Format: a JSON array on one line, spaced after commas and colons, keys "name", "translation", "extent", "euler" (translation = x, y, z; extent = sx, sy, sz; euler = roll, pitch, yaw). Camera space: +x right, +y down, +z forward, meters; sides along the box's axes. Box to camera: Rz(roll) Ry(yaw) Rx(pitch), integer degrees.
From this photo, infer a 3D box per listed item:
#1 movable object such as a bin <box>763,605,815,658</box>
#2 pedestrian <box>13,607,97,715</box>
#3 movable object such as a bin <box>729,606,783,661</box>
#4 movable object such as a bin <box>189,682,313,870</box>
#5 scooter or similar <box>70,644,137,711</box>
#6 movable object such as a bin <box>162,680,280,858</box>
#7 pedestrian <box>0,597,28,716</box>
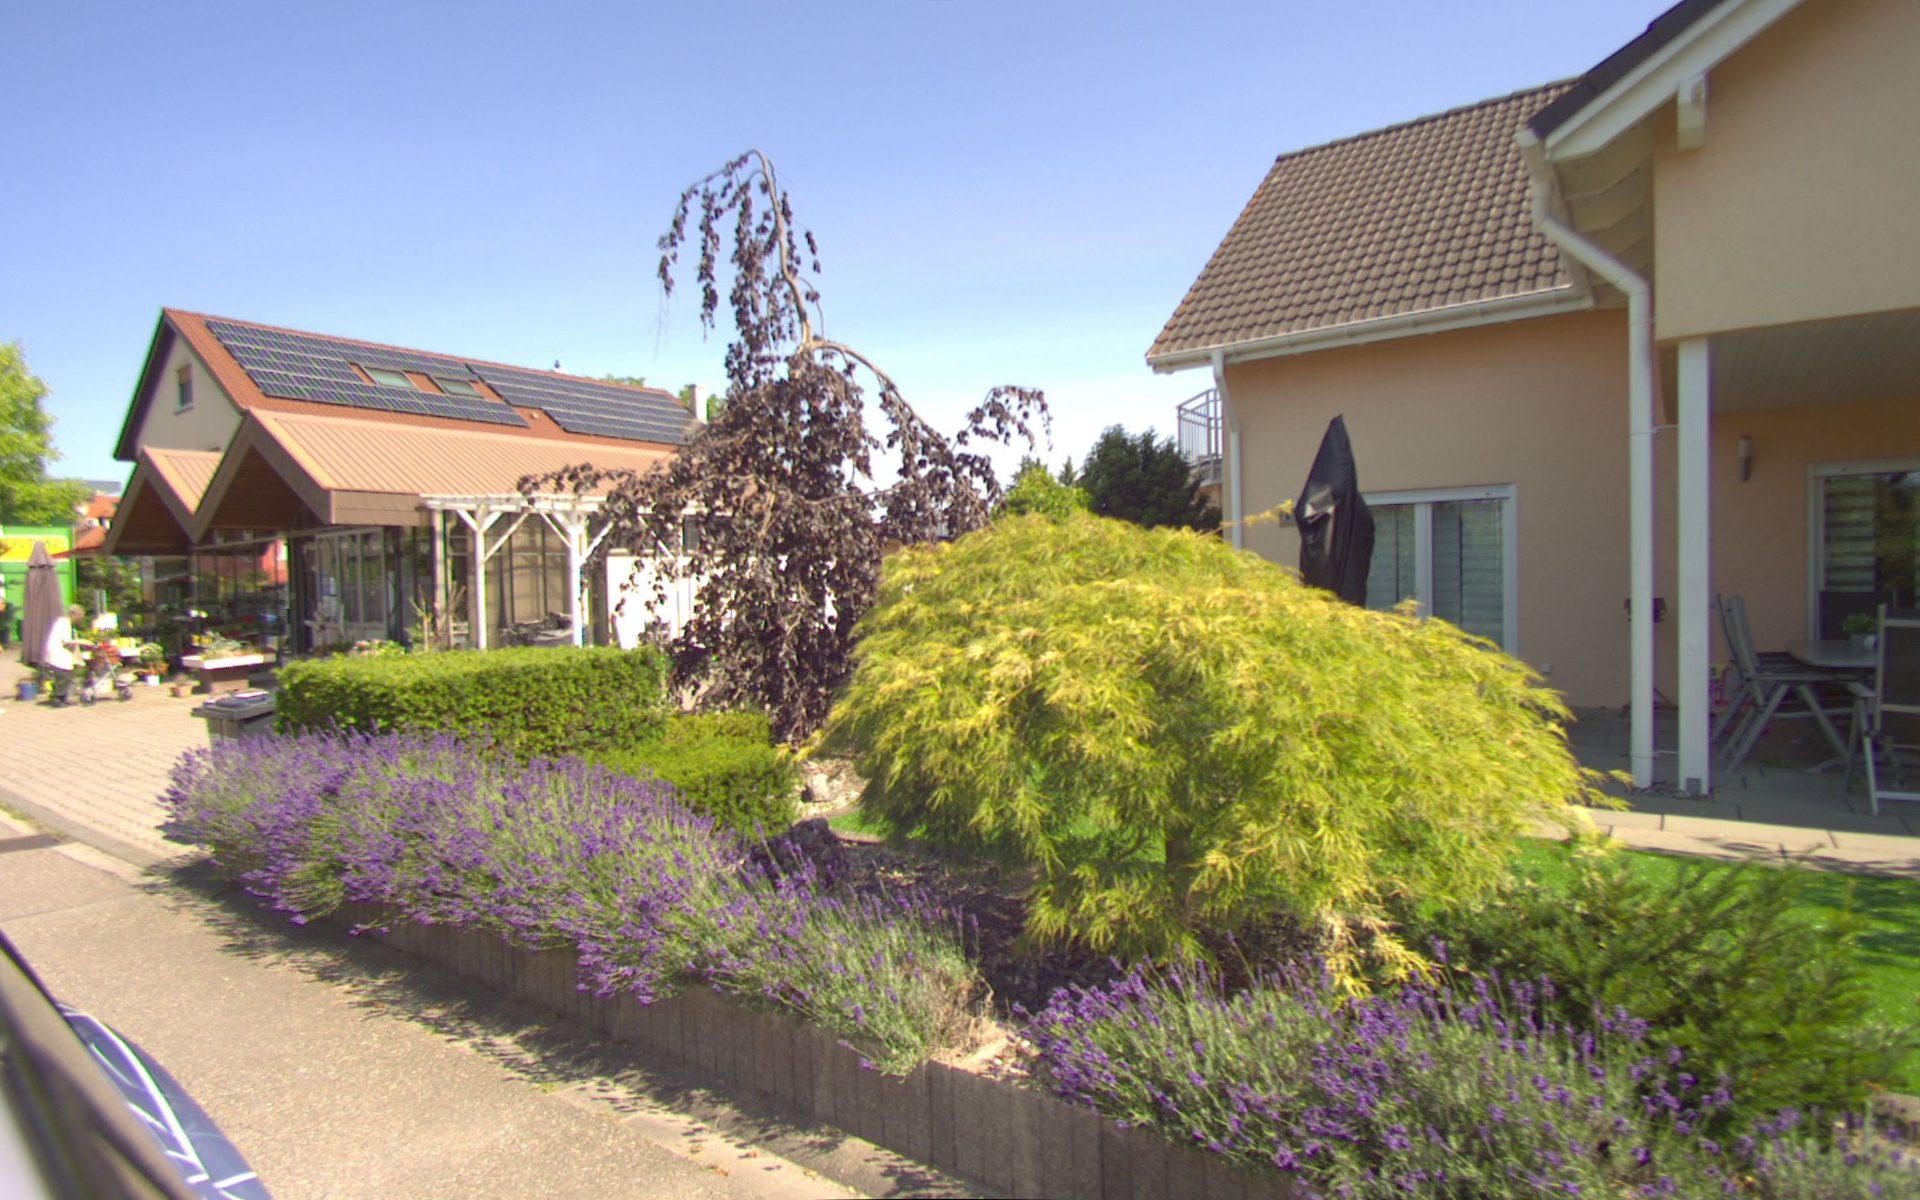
[{"name": "movable object such as a bin", "translation": [-3.573, 0.651, 21.216], "extent": [0.712, 1.076, 0.801], "euler": [-1, 0, 30]}, {"name": "pedestrian", "translation": [-13.682, 0.901, 15.319], "extent": [0.707, 1.550, 0.644], "euler": [-2, 0, -20]}, {"name": "movable object such as a bin", "translation": [-4.146, 0.678, 20.605], "extent": [0.712, 1.076, 0.801], "euler": [-1, 0, 30]}, {"name": "movable object such as a bin", "translation": [-4.332, 1.047, 6.188], "extent": [0.447, 1.032, 0.490], "euler": [-1, 0, 37]}, {"name": "scooter or similar", "translation": [-13.123, 1.179, 15.518], "extent": [0.592, 0.953, 0.623], "euler": [-2, 0, -20]}, {"name": "movable object such as a bin", "translation": [-4.737, 1.055, 6.494], "extent": [0.447, 1.032, 0.490], "euler": [-1, 0, 37]}, {"name": "pedestrian", "translation": [-14.433, 0.838, 14.993], "extent": [0.680, 1.744, 0.644], "euler": [-2, 0, -23]}]
